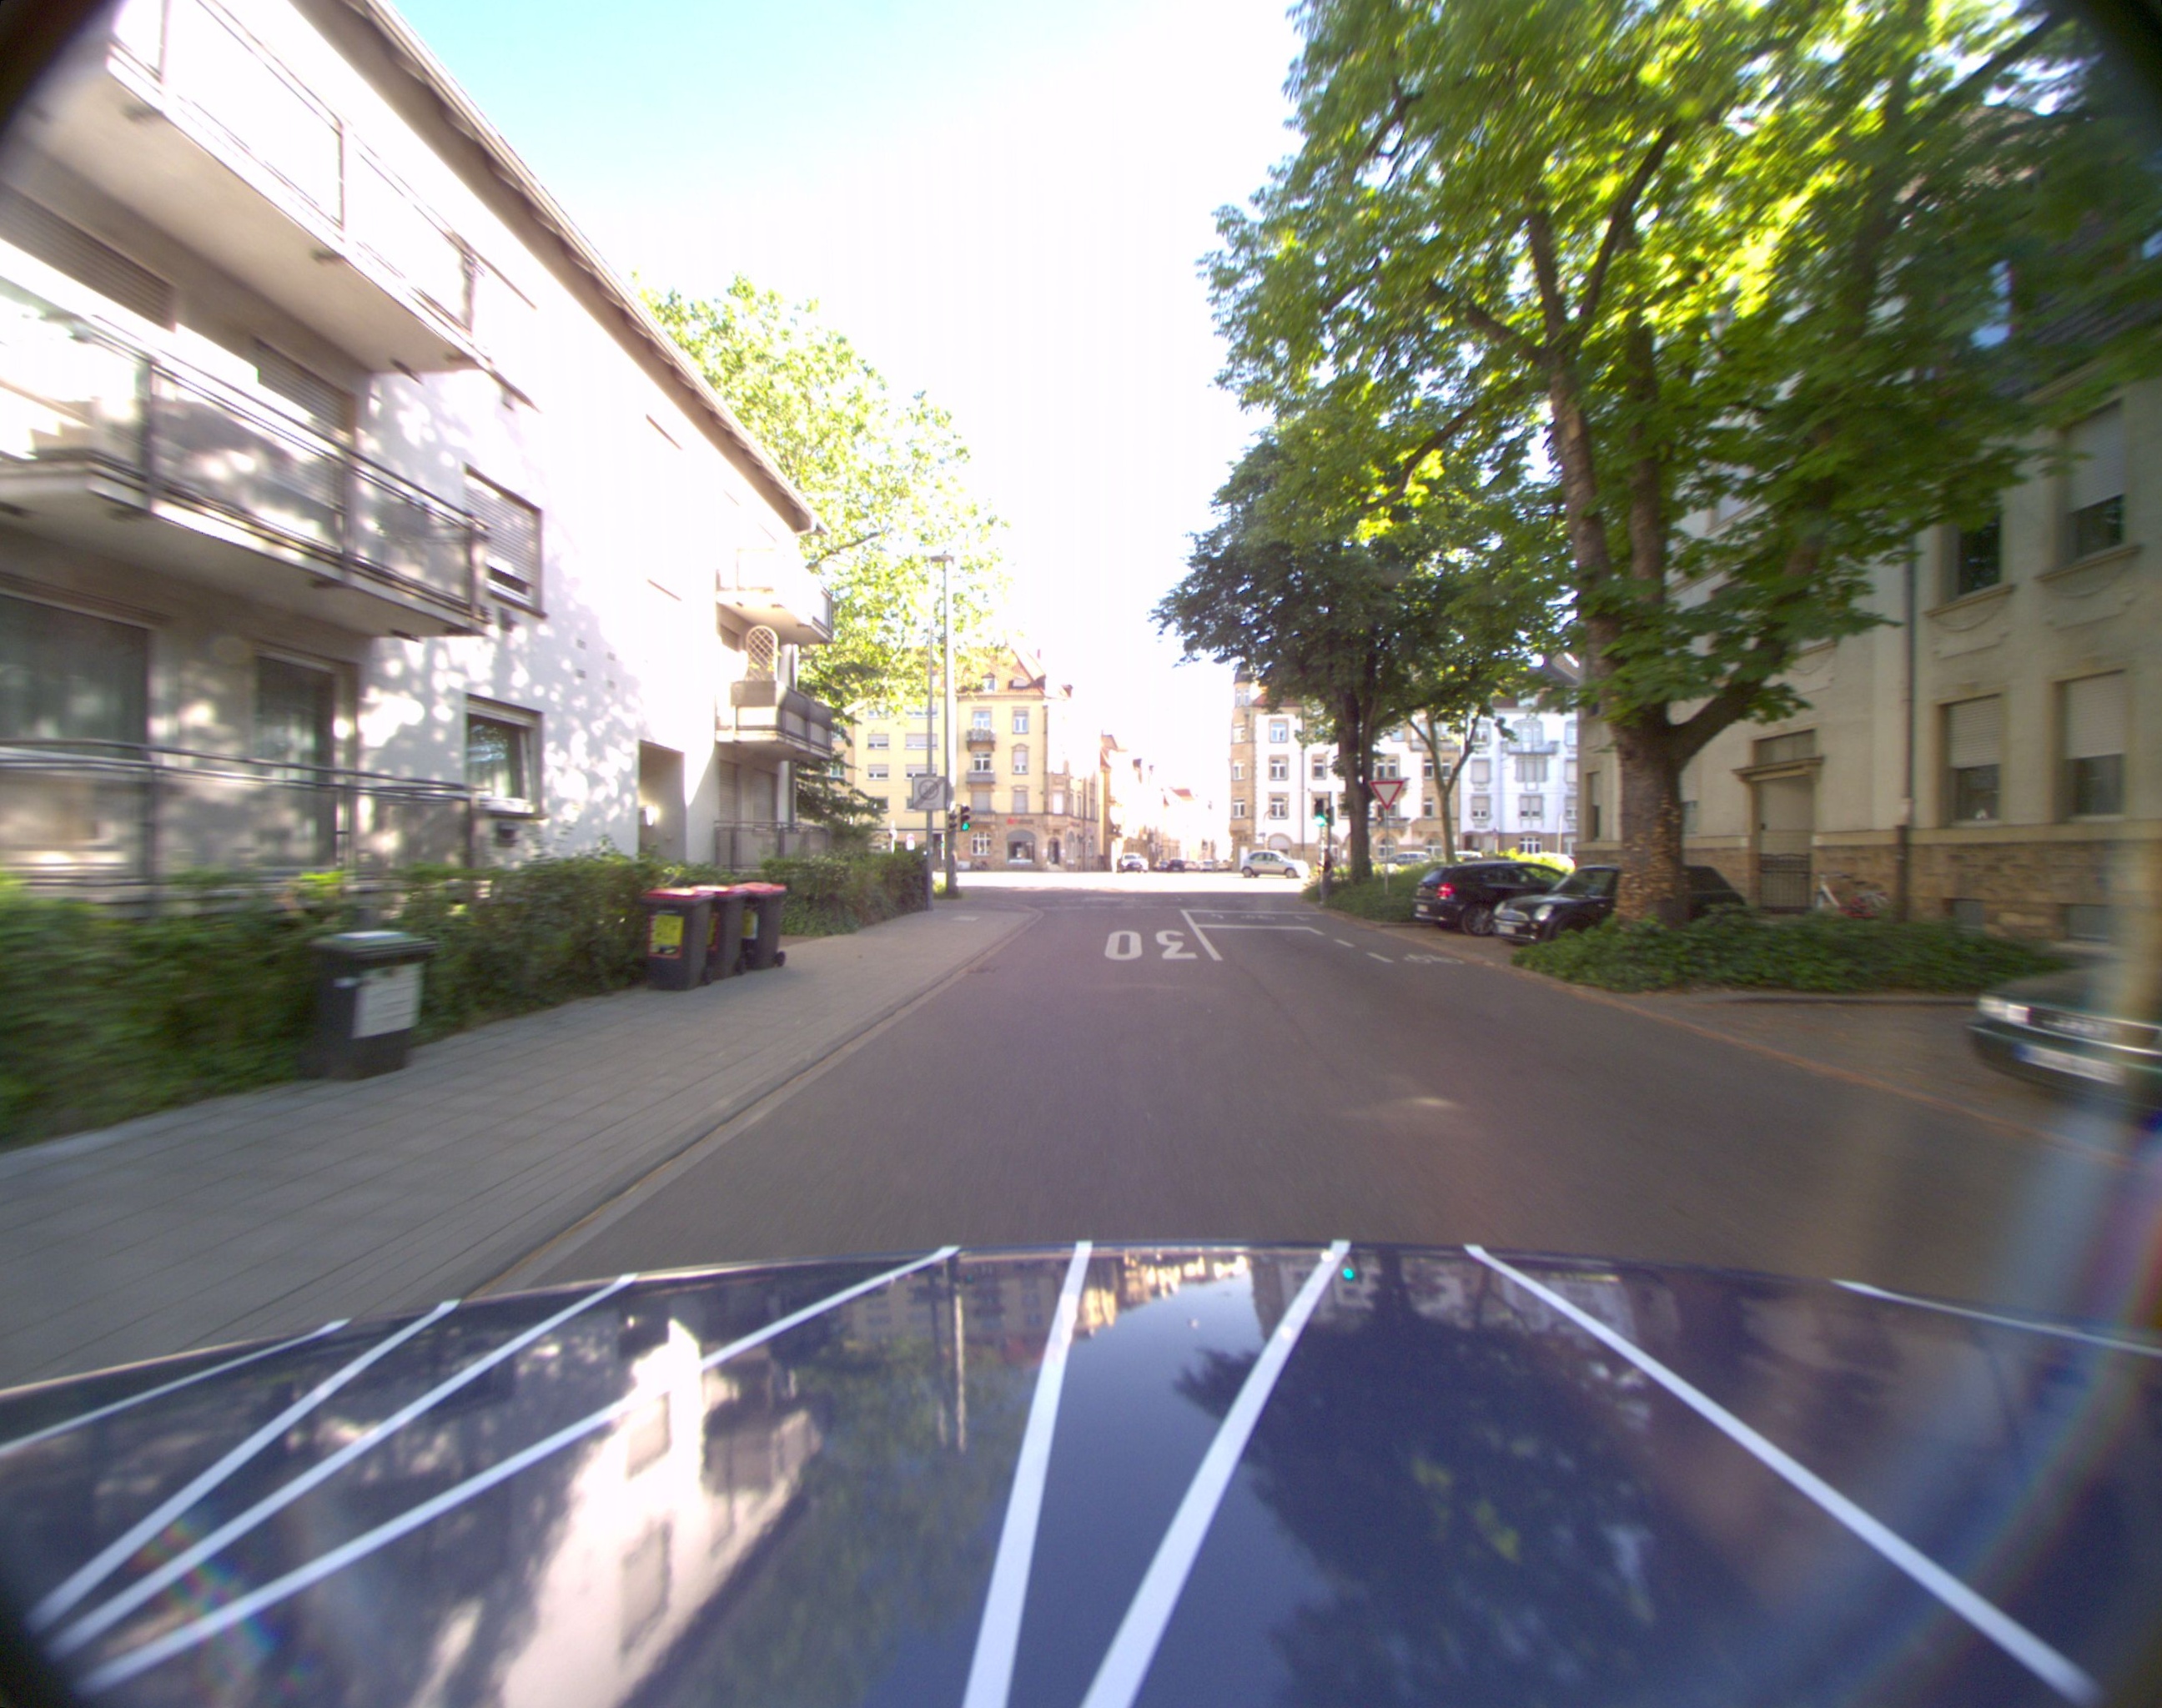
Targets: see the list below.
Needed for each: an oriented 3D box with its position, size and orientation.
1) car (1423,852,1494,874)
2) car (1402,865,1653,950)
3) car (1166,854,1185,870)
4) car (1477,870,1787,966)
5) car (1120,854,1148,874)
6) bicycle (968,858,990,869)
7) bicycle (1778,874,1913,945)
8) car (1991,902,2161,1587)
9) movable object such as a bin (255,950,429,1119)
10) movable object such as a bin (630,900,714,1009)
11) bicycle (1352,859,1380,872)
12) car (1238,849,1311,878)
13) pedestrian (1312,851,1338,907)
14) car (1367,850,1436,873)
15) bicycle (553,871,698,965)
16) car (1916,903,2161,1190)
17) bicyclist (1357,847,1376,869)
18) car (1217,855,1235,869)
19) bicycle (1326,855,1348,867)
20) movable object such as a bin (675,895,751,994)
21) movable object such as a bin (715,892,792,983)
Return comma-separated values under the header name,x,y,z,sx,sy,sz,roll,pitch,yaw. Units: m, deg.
name,x,y,z,sx,sy,sz,roll,pitch,yaw
car,26.134,0.606,52.727,4.016,1.521,1.767,0,0,4
car,8.558,0.995,14.841,3.890,1.467,1.616,1,1,4
car,9.221,0.748,74.292,1.664,1.455,3.810,0,0,5
car,8.798,0.986,12.344,3.892,1.407,1.615,0,0,-2
car,3.716,0.713,54.037,1.863,1.346,4.217,0,0,2
bicycle,-9.294,0.884,69.369,1.951,0.970,0.516,0,3,3
bicycle,13.658,0.950,13.667,0.515,1.147,1.983,-2,-1,5
car,3.125,0.894,0.108,1.644,1.499,3.703,1,0,4
movable object such as a bin,-4.702,1.121,4.865,0.504,0.910,0.573,4,1,6
movable object such as a bin,-4.310,1.045,8.043,0.484,1.038,0.618,4,1,2
bicycle,19.824,0.810,52.868,1.635,0.919,0.795,0,0,4
car,10.801,0.507,42.407,3.606,1.559,1.656,0,0,32
pedestrian,7.354,0.746,22.920,0.694,1.672,0.681,0,1,15
car,23.385,0.565,55.558,4.236,1.634,2.001,0,-1,4
bicycle,-6.239,0.856,10.452,1.582,1.179,0.642,3,0,-40
car,7.542,0.989,3.992,4.221,1.341,1.703,-1,1,4
bicyclist,19.836,0.299,52.876,1.073,1.533,0.687,0,0,3
car,19.580,1.047,102.343,1.915,1.649,4.352,-3,-1,17
bicycle,22.774,0.617,67.650,1.809,1.127,0.610,0,0,2
movable object such as a bin,-4.241,1.024,8.784,0.484,1.038,0.657,4,1,2
movable object such as a bin,-4.124,1.038,9.607,0.598,1.038,0.707,4,1,2
